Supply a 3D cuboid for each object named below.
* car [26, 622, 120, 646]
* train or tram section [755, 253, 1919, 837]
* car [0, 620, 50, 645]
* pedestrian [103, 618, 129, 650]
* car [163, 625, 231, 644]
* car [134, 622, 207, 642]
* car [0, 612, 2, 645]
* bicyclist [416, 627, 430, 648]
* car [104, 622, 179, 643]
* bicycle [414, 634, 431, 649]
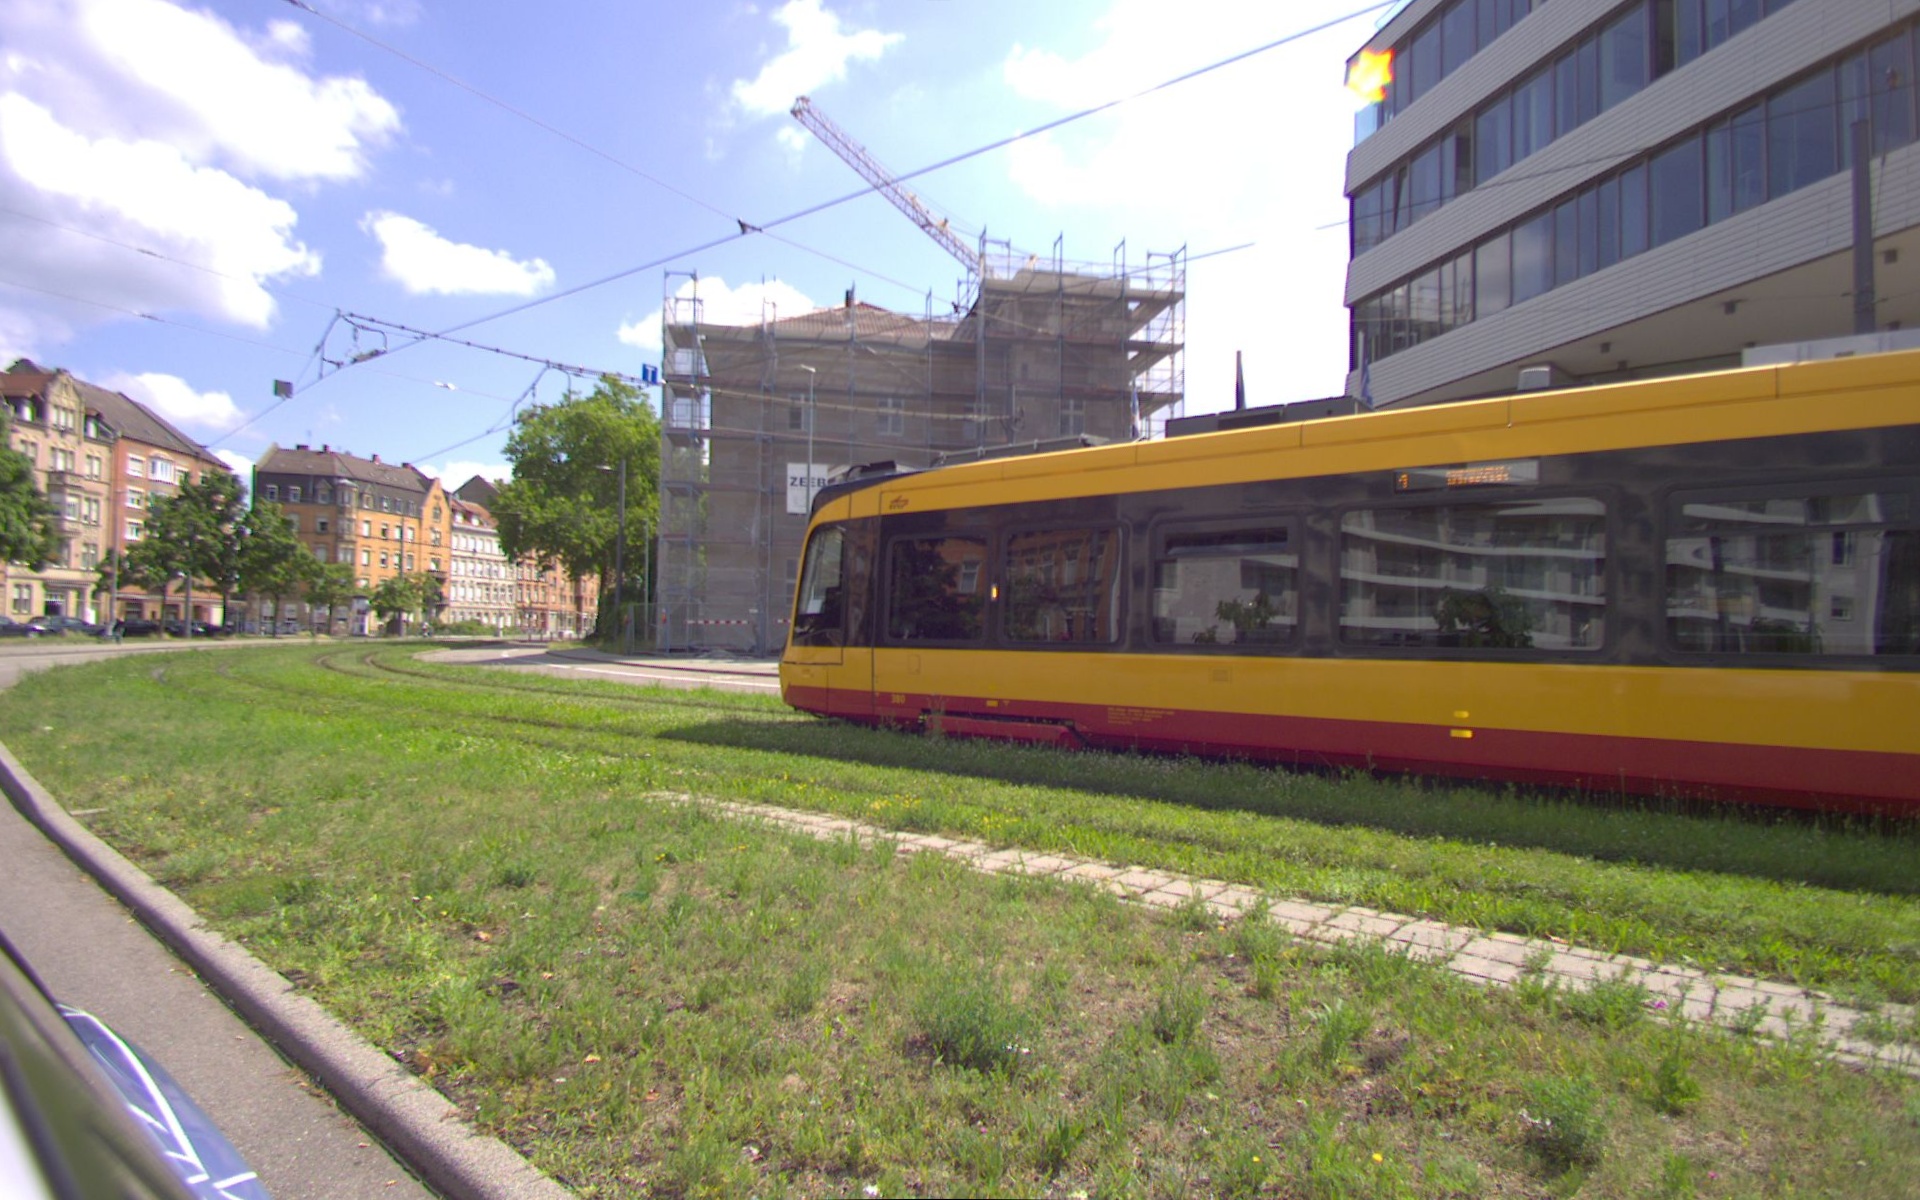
[{"bbox_3d":[-54.659,2.062,62.389,1.853,1.391,4.208,-2,-2,43],"label":"car"},{"bbox_3d":[3.473,-0.213,10.423,13.489,3.627,3.183,-1,-4,40],"label":"train or tram section"},{"bbox_3d":[-53.397,1.795,56.116,1.853,1.391,4.208,-2,-2,43],"label":"car"},{"bbox_3d":[-47.071,1.915,56.454,0.691,1.717,1.047,1,1,-12],"label":"pedestrian"},{"bbox_3d":[-57.149,2.550,75.898,3.932,1.364,1.967,0,-2,-33],"label":"car"},{"bbox_3d":[-56.538,2.260,72.511,3.939,1.391,1.963,1,-2,-43],"label":"car"},{"bbox_3d":[-52.533,1.486,52.318,1.853,1.754,4.303,-2,-2,43],"label":"car"},{"bbox_3d":[-49.056,3.465,92.439,0.686,1.838,0.957,5,-4,-6],"label":"bicyclist"},{"bbox_3d":[-56.072,2.204,69.391,3.935,1.391,1.965,1,-2,-38],"label":"car"},{"bbox_3d":[-49.071,3.775,92.384,0.685,1.251,1.842,6,-4,-7],"label":"bicycle"}]
